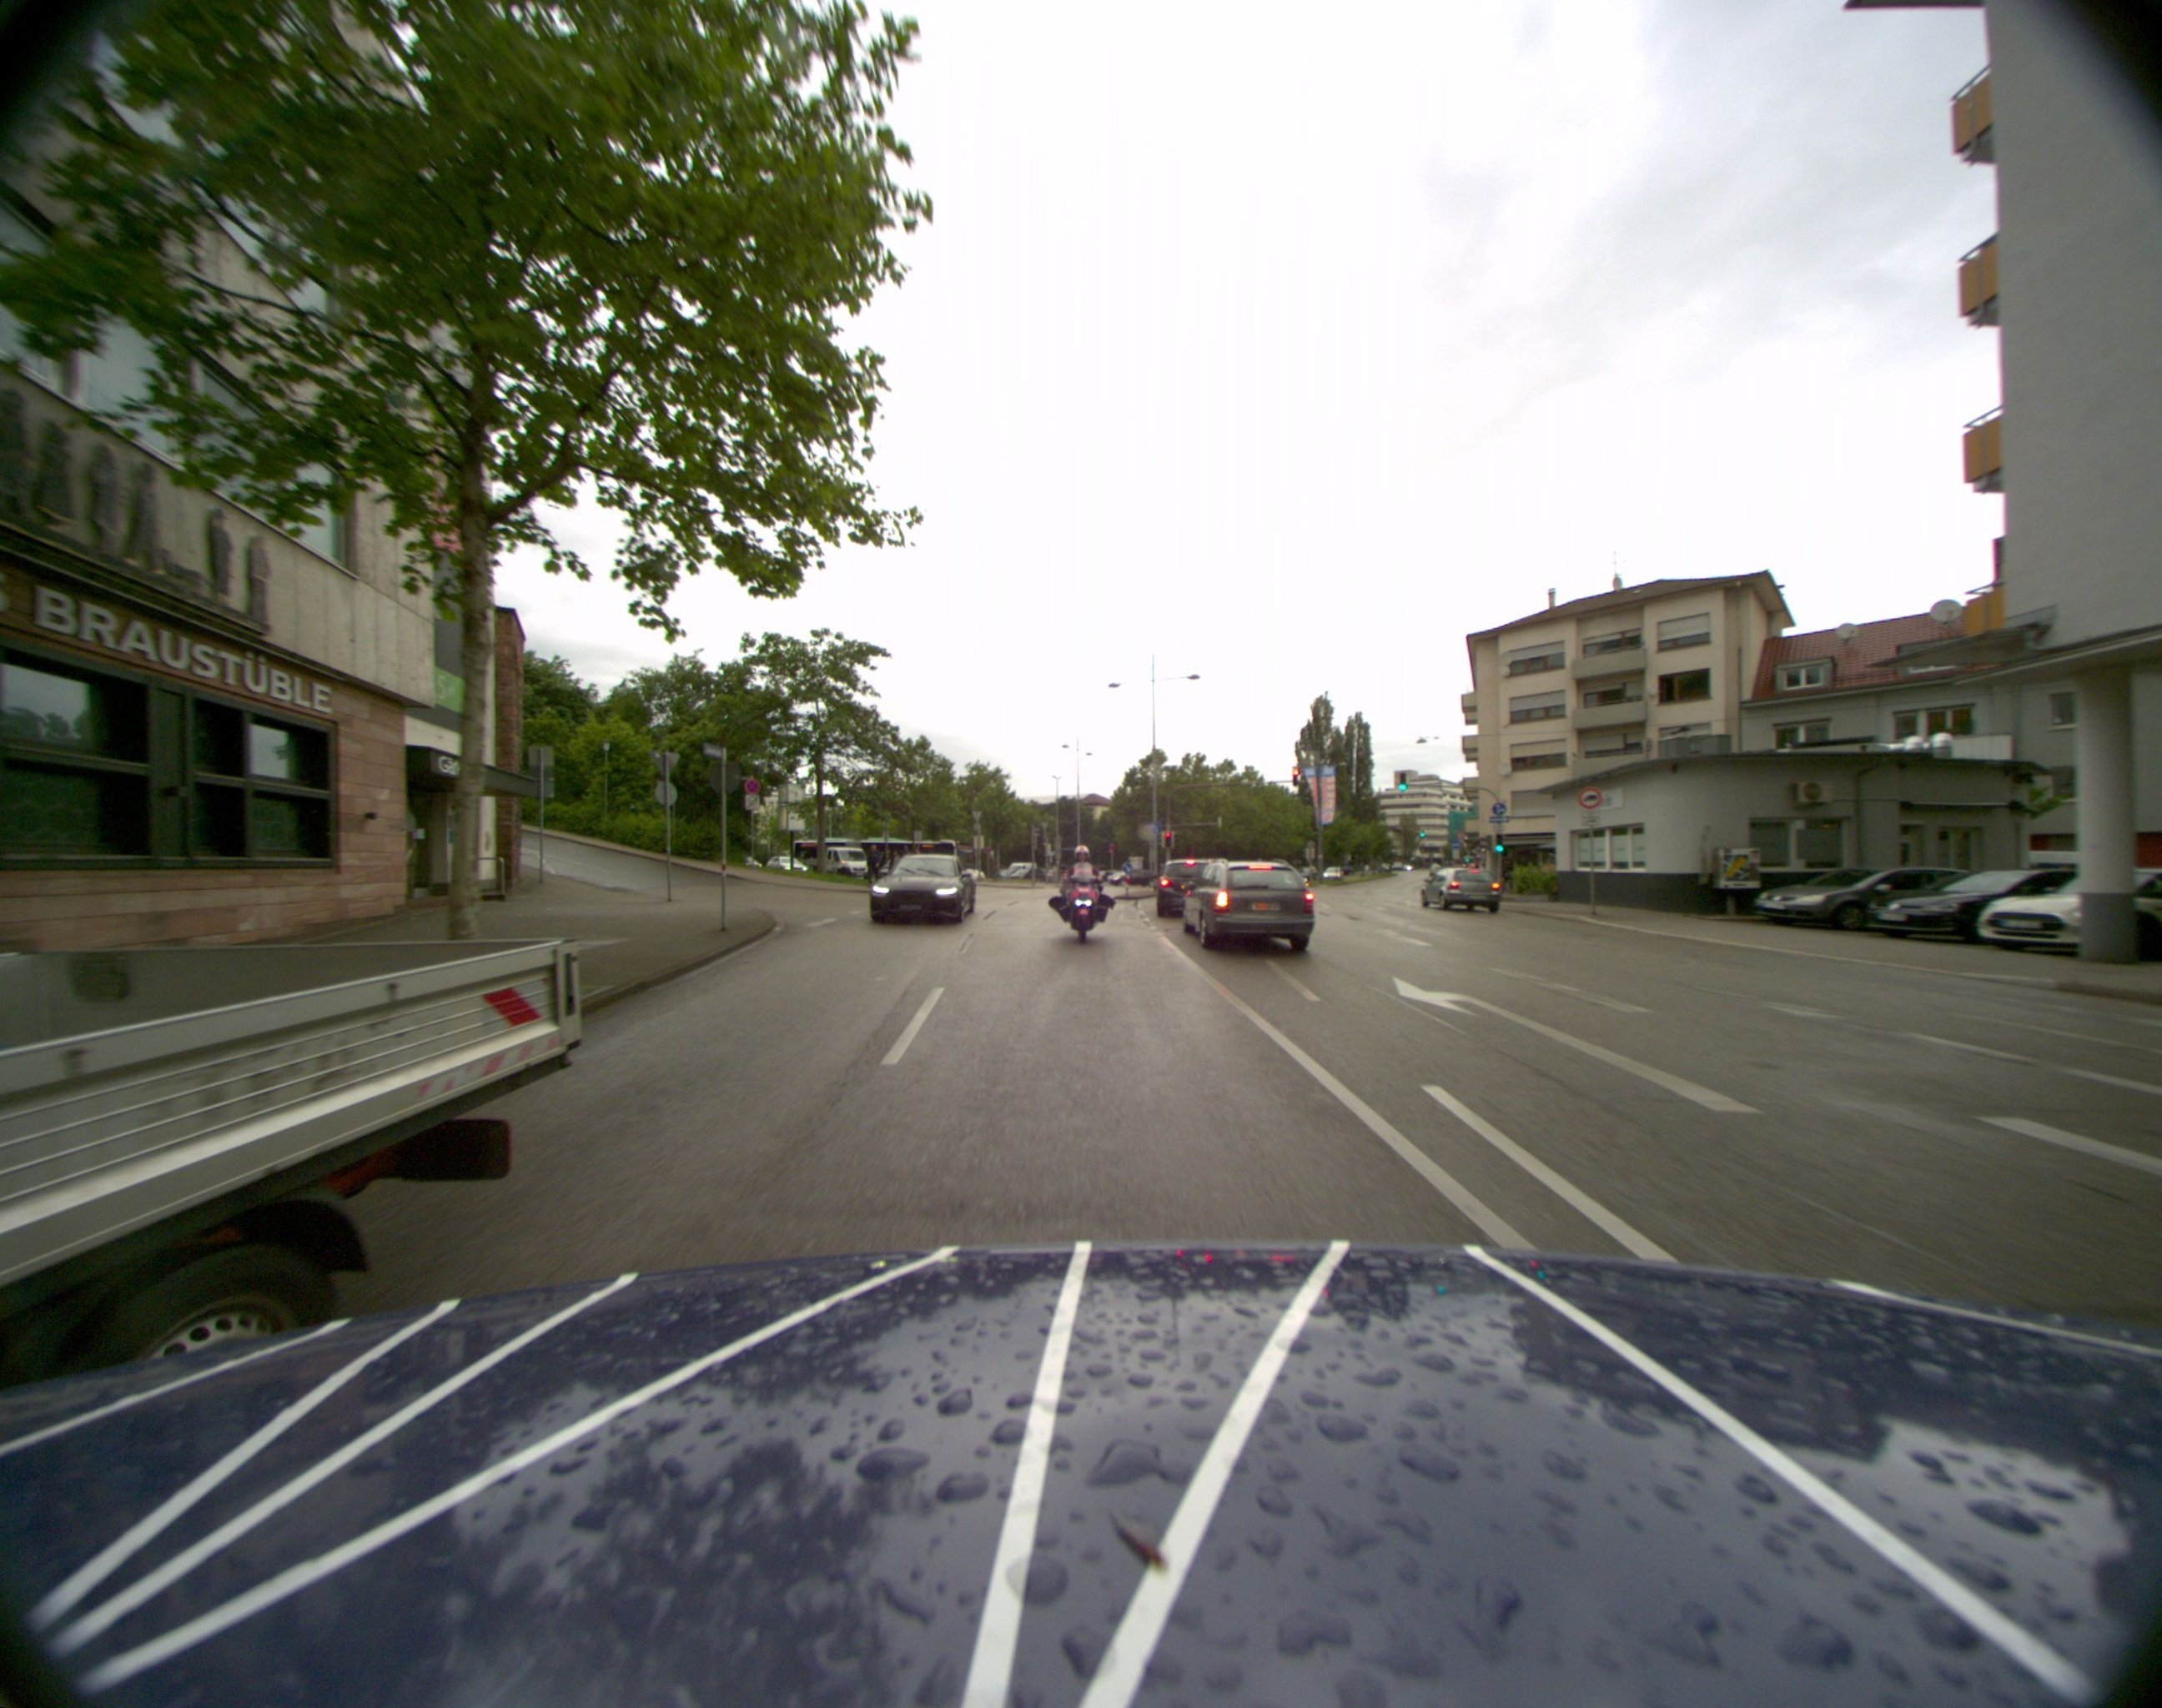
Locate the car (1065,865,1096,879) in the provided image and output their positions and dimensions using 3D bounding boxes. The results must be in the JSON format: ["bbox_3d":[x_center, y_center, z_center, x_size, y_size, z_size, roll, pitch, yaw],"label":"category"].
[{"bbox_3d":[-0.016,2.131,87.903,1.758,1.581,4.186,1,-1,30],"label":"car"}]

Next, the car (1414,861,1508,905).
[{"bbox_3d":[12.840,0.968,25.926,1.731,1.358,4.115,0,-2,10],"label":"car"}]

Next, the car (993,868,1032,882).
[{"bbox_3d":[-6.967,2.111,77.296,1.852,1.431,4.271,0,-1,30],"label":"car"}]

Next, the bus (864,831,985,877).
[{"bbox_3d":[-11.872,-0.022,57.110,9.630,3.197,2.711,1,-1,33],"label":"bus"}]

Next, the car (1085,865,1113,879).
[{"bbox_3d":[2.195,2.196,92.130,1.758,1.581,4.009,1,-1,30],"label":"car"}]

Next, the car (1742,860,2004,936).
[{"bbox_3d":[17.724,0.951,17.184,3.821,1.413,1.798,2,2,4],"label":"car"}]

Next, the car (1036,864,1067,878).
[{"bbox_3d":[-3.466,2.010,89.386,1.758,1.581,4.009,1,-1,30],"label":"car"}]

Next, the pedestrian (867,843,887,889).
[{"bbox_3d":[-7.786,0.433,28.996,0.573,1.677,0.962,3,2,-11],"label":"pedestrian"}]

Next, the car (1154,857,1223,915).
[{"bbox_3d":[2.875,0.817,20.941,1.647,1.445,3.991,0,0,5],"label":"car"}]

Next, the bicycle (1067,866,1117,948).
[{"bbox_3d":[0.239,0.909,13.860,0.717,1.298,2.428,-1,1,5],"label":"bicycle"}]

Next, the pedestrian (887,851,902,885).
[{"bbox_3d":[-9.362,0.712,38.158,0.559,1.695,0.527,2,0,-27],"label":"pedestrian"}]

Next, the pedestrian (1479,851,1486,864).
[{"bbox_3d":[55.456,0.439,104.855,0.560,1.718,0.610,-4,-2,11],"label":"pedestrian"}]

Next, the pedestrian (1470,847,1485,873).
[{"bbox_3d":[27.327,0.403,52.358,0.778,1.718,0.662,-5,-3,32],"label":"pedestrian"}]

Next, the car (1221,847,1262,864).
[{"bbox_3d":[20.912,0.213,99.104,4.839,1.930,1.954,-4,-2,34],"label":"car"}]

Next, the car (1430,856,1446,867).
[{"bbox_3d":[47.742,0.973,101.627,1.677,1.384,4.160,2,0,27],"label":"car"}]

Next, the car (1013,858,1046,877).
[{"bbox_3d":[-6.696,1.782,99.429,1.968,2.305,5.023,1,-1,27],"label":"car"}]

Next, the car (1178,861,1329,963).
[{"bbox_3d":[2.819,0.883,13.418,1.737,1.431,4.413,0,0,1],"label":"car"}]

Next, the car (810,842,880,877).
[{"bbox_3d":[-16.360,0.342,52.465,2.260,2.221,6.323,1,0,-40],"label":"car"}]

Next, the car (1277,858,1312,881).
[{"bbox_3d":[14.382,1.042,51.355,1.802,1.425,4.400,-2,0,10],"label":"car"}]

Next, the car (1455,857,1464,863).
[{"bbox_3d":[84.475,1.322,169.506,1.604,1.422,3.952,2,1,28],"label":"car"}]

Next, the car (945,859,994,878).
[{"bbox_3d":[-8.628,1.128,58.913,3.559,1.442,1.594,-1,-2,31],"label":"car"}]

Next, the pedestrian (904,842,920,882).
[{"bbox_3d":[-8.569,0.392,38.465,0.589,2.001,0.786,2,0,-21],"label":"pedestrian"}]

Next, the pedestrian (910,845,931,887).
[{"bbox_3d":[-7.203,0.528,34.131,0.744,1.819,0.693,3,0,-18],"label":"pedestrian"}]

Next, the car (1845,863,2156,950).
[{"bbox_3d":[17.562,0.963,14.671,3.765,1.412,1.638,2,0,4],"label":"car"}]

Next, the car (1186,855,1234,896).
[{"bbox_3d":[5.552,0.877,32.430,1.758,1.605,4.216,1,-1,13],"label":"car"}]

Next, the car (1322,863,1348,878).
[{"bbox_3d":[27.466,1.795,82.050,1.892,1.566,4.370,1,0,30],"label":"car"}]

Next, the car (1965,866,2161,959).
[{"bbox_3d":[16.923,0.933,12.177,3.631,1.330,1.496,2,0,2],"label":"car"}]

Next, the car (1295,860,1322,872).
[{"bbox_3d":[27.496,1.442,91.853,1.892,1.479,4.370,1,0,34],"label":"car"}]

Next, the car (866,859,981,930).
[{"bbox_3d":[-3.524,0.846,17.784,1.897,1.396,4.360,1,0,-2],"label":"car"}]

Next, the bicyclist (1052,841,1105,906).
[{"bbox_3d":[-0.034,0.398,14.909,0.962,1.218,0.715,-1,-4,5],"label":"bicyclist"}]

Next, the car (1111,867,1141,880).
[{"bbox_3d":[5.382,2.303,90.502,1.734,1.431,4.454,1,-1,29],"label":"car"}]

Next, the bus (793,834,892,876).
[{"bbox_3d":[-19.538,0.121,61.942,8.537,3.162,2.693,-1,1,32],"label":"bus"}]

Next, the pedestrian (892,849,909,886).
[{"bbox_3d":[-8.030,0.581,33.838,0.602,1.590,0.705,3,1,-18],"label":"pedestrian"}]

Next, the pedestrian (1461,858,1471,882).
[{"bbox_3d":[28.337,1.201,55.938,0.452,1.719,0.525,-5,-3,33],"label":"pedestrian"}]
